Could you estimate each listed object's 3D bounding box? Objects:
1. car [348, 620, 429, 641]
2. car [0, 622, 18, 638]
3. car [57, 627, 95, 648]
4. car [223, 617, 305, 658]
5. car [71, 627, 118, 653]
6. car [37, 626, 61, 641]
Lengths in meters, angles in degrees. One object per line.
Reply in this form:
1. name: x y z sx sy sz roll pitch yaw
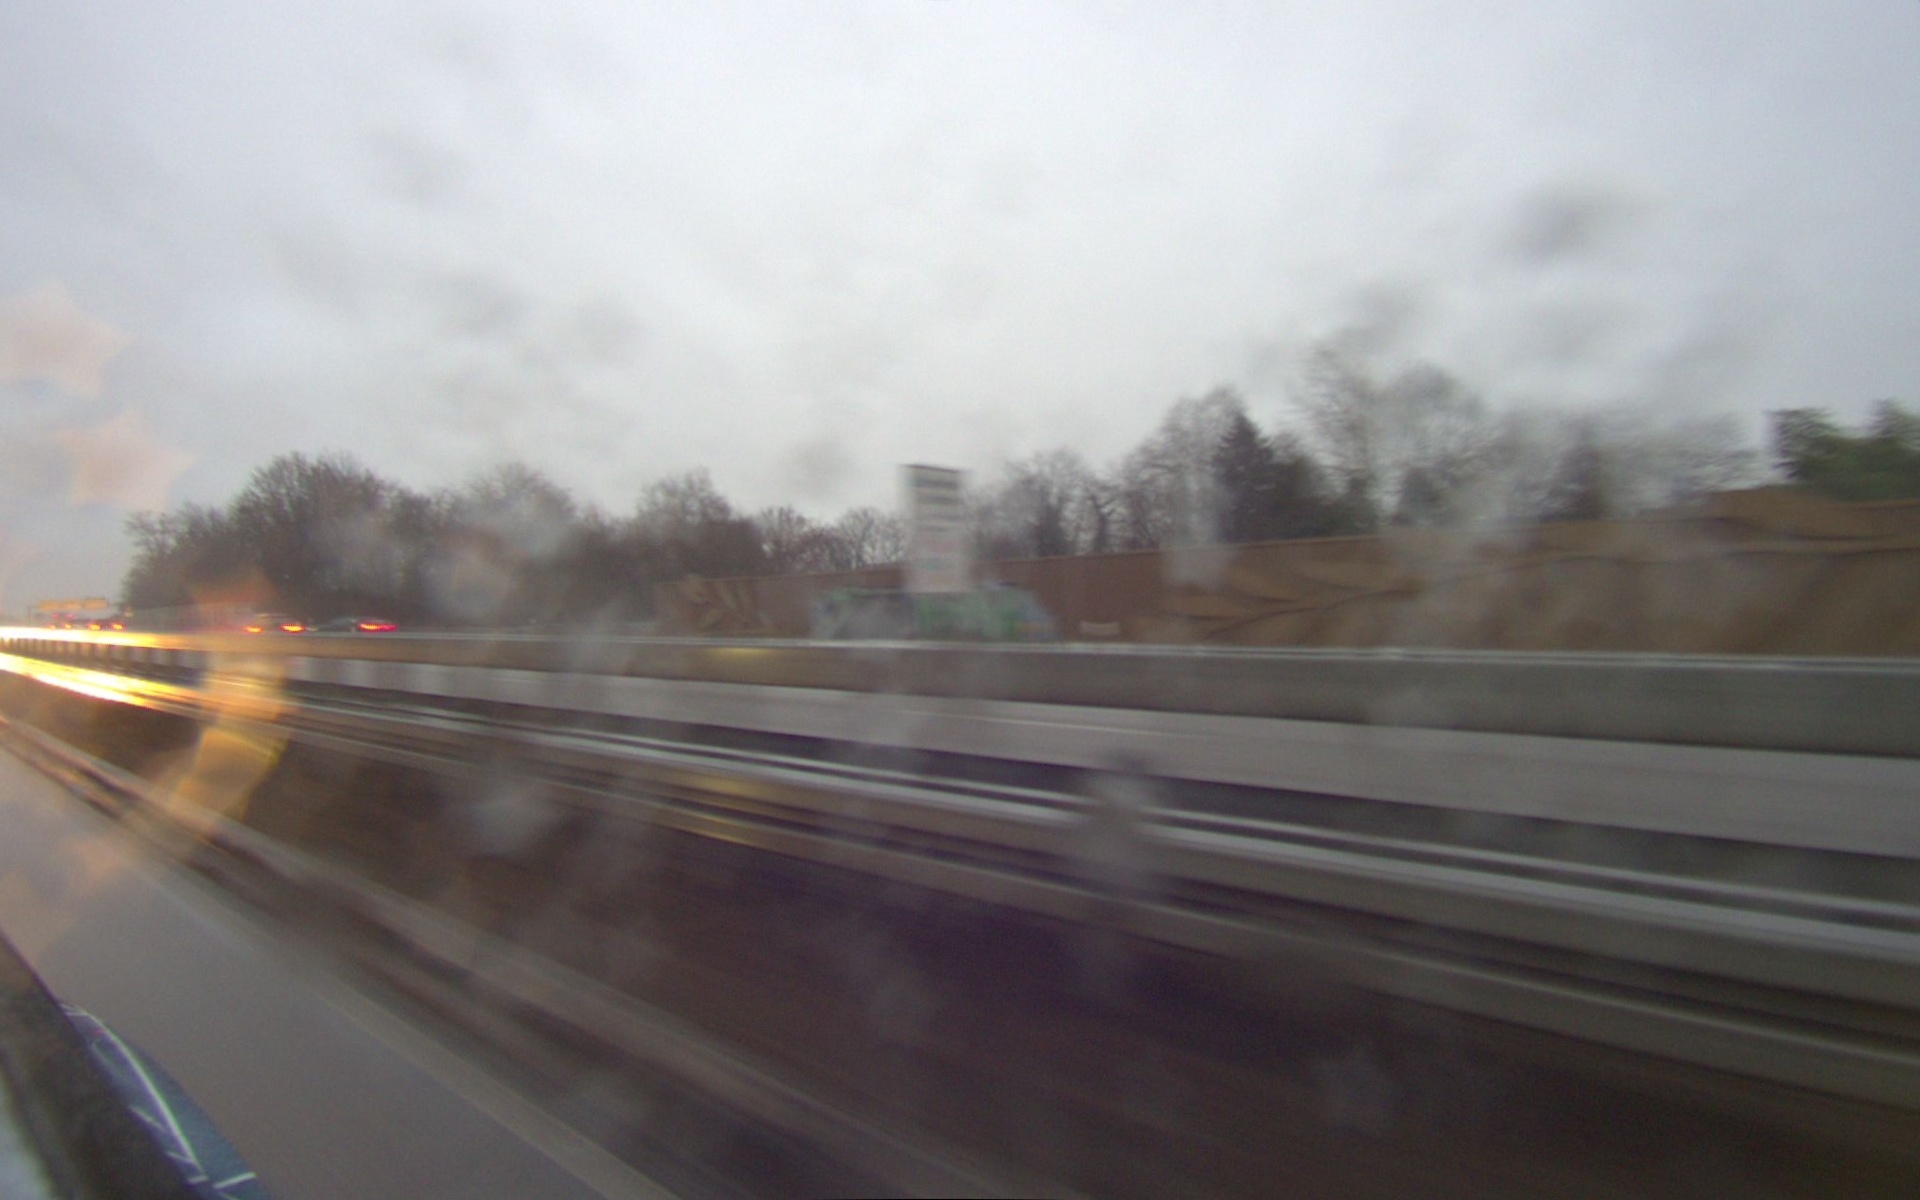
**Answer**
1. car: -34.589 1.824 61.260 3.947 1.170 1.801 -1 0 3
2. car: -92.220 2.877 97.518 4.645 1.460 1.846 -1 0 43
3. car: -71.863 3.004 82.255 4.645 1.639 1.846 -1 0 43
4. car: -26.159 1.386 37.995 3.679 1.452 1.679 -1 0 41
5. car: -58.596 2.699 68.493 4.779 1.639 1.846 -1 0 43
6. car: -101.062 3.675 112.270 4.180 1.619 1.708 -1 -1 44
